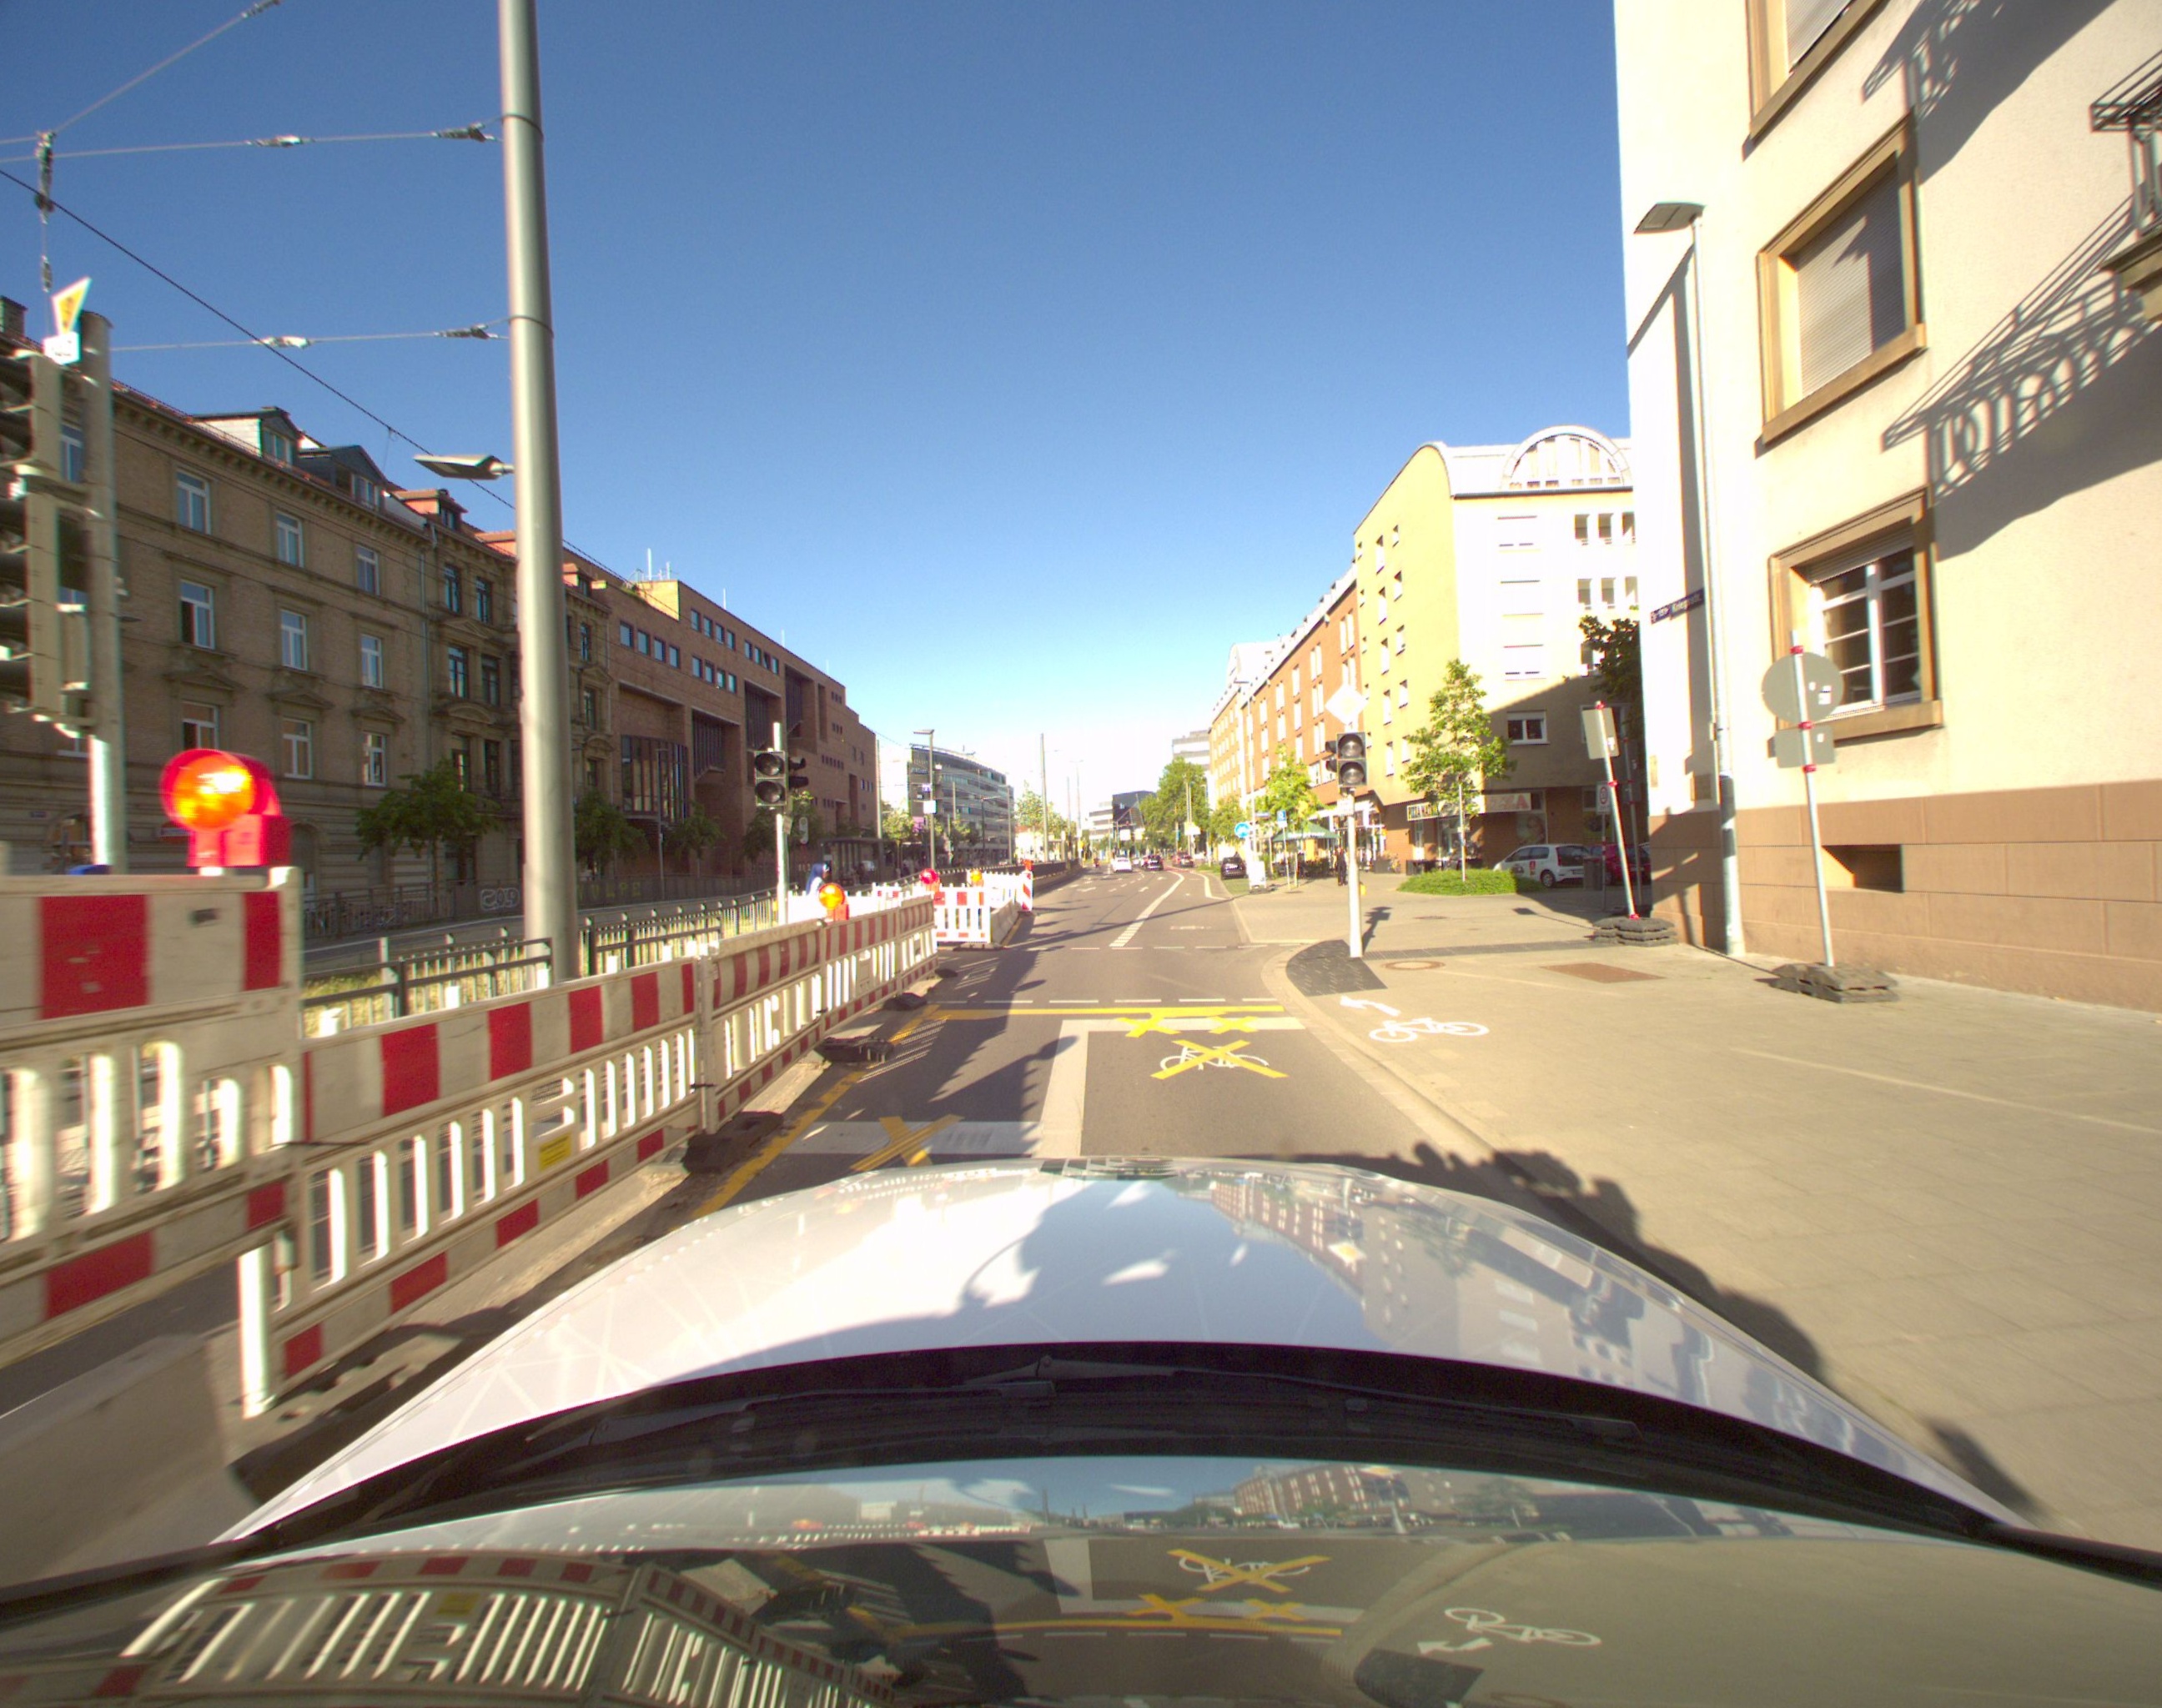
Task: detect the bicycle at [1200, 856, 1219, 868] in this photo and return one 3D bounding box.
[{"bbox_3d":[13.957,0.854,88.323,1.932,1.137,0.492,-3,-1,12],"label":"bicycle"}]

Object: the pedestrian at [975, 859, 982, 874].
[{"bbox_3d":[-11.444,1.405,90.656,0.638,1.643,0.946,0,0,2],"label":"pedestrian"}]

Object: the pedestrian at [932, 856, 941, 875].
[{"bbox_3d":[-13.158,1.068,74.017,0.620,1.715,0.616,-1,0,2],"label":"pedestrian"}]

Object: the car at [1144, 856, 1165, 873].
[{"bbox_3d":[7.789,1.051,86.192,1.967,1.759,4.635,0,0,2],"label":"car"}]

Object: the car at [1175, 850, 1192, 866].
[{"bbox_3d":[13.151,0.499,104.782,1.852,1.961,4.004,0,0,3],"label":"car"}]

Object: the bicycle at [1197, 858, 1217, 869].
[{"bbox_3d":[13.417,1.007,86.588,1.929,1.022,0.504,-4,-1,19],"label":"bicycle"}]

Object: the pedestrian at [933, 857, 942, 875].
[{"bbox_3d":[-13.144,1.129,74.644,0.620,1.612,0.616,-1,0,2],"label":"pedestrian"}]

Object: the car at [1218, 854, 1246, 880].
[{"bbox_3d":[10.548,0.882,57.143,1.711,1.637,4.241,-3,-1,8],"label":"car"}]

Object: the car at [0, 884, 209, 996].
[{"bbox_3d":[-17.437,1.394,13.126,1.789,1.640,4.479,-2,-1,2],"label":"car"}]

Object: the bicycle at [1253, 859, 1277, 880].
[{"bbox_3d":[10.636,0.894,47.202,0.763,1.081,1.996,-7,-1,-1],"label":"bicycle"}]

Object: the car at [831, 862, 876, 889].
[{"bbox_3d":[-16.631,1.532,59.767,1.988,1.880,4.581,-2,0,-1],"label":"car"}]

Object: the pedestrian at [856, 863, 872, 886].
[{"bbox_3d":[-13.133,1.238,49.354,0.643,1.309,0.722,-4,-1,2],"label":"pedestrian"}]

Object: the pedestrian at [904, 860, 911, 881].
[{"bbox_3d":[-13.423,1.279,62.991,0.376,1.621,0.553,0,0,2],"label":"pedestrian"}]

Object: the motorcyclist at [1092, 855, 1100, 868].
[{"bbox_3d":[2.016,0.973,106.503,1.015,1.603,1.149,0,0,2],"label":"motorcyclist"}]

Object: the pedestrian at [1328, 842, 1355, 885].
[{"bbox_3d":[11.184,0.389,34.938,0.876,1.763,1.111,-5,-2,23],"label":"pedestrian"}]

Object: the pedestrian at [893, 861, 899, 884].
[{"bbox_3d":[-13.668,1.353,60.162,0.376,1.648,0.416,0,0,2],"label":"pedestrian"}]

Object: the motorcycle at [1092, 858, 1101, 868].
[{"bbox_3d":[2.023,1.147,106.502,1.015,1.312,2.916,0,0,2],"label":"motorcycle"}]

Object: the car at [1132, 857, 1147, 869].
[{"bbox_3d":[7.922,1.246,110.799,1.844,1.497,4.381,-1,0,2],"label":"car"}]

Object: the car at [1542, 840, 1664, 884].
[{"bbox_3d":[18.073,0.263,28.398,1.631,1.453,3.646,0,0,-8],"label":"car"}]

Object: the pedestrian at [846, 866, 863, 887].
[{"bbox_3d":[-13.151,1.309,47.313,0.718,1.168,0.722,-4,-1,2],"label":"pedestrian"}]

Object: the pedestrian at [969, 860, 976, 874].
[{"bbox_3d":[-12.091,1.458,90.683,0.638,1.608,0.946,0,0,2],"label":"pedestrian"}]

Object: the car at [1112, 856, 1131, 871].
[{"bbox_3d":[4.023,0.949,80.732,1.774,1.414,4.820,0,0,2],"label":"car"}]

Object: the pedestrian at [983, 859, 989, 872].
[{"bbox_3d":[-12.864,1.558,110.489,0.611,1.817,0.897,-1,0,2],"label":"pedestrian"}]

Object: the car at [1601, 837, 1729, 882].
[{"bbox_3d":[20.454,0.184,28.710,1.629,1.455,3.728,0,0,-5],"label":"car"}]

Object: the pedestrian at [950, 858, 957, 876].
[{"bbox_3d":[-12.720,1.305,81.440,0.579,1.738,0.616,-1,0,2],"label":"pedestrian"}]

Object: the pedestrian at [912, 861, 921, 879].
[{"bbox_3d":[-13.241,1.270,65.647,0.537,1.459,0.643,0,0,2],"label":"pedestrian"}]

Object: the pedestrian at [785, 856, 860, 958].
[{"bbox_3d":[-3.925,0.783,12.443,0.787,1.457,0.946,-2,-1,-1],"label":"pedestrian"}]

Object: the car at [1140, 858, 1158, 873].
[{"bbox_3d":[7.806,1.342,93.782,1.844,1.640,4.380,-1,-1,2],"label":"car"}]

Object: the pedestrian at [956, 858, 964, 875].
[{"bbox_3d":[-11.692,1.207,78.838,0.638,1.696,0.541,0,0,2],"label":"pedestrian"}]

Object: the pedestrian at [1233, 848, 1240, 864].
[{"bbox_3d":[17.856,0.281,93.548,0.604,1.821,0.748,-2,-1,1],"label":"pedestrian"}]

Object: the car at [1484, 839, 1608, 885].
[{"bbox_3d":[15.838,0.262,27.982,1.662,1.474,3.824,0,0,-10],"label":"car"}]

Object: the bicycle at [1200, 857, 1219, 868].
[{"bbox_3d":[13.839,0.961,87.803,1.932,1.075,0.556,-3,-1,12],"label":"bicycle"}]

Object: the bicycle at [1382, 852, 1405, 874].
[{"bbox_3d":[17.538,0.481,45.720,0.612,1.169,1.536,-4,0,-1],"label":"bicycle"}]

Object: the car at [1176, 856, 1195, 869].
[{"bbox_3d":[12.618,1.008,98.401,1.839,1.560,4.635,0,0,2],"label":"car"}]

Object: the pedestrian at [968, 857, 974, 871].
[{"bbox_3d":[-13.043,1.216,96.532,0.561,1.609,0.616,-1,0,2],"label":"pedestrian"}]
